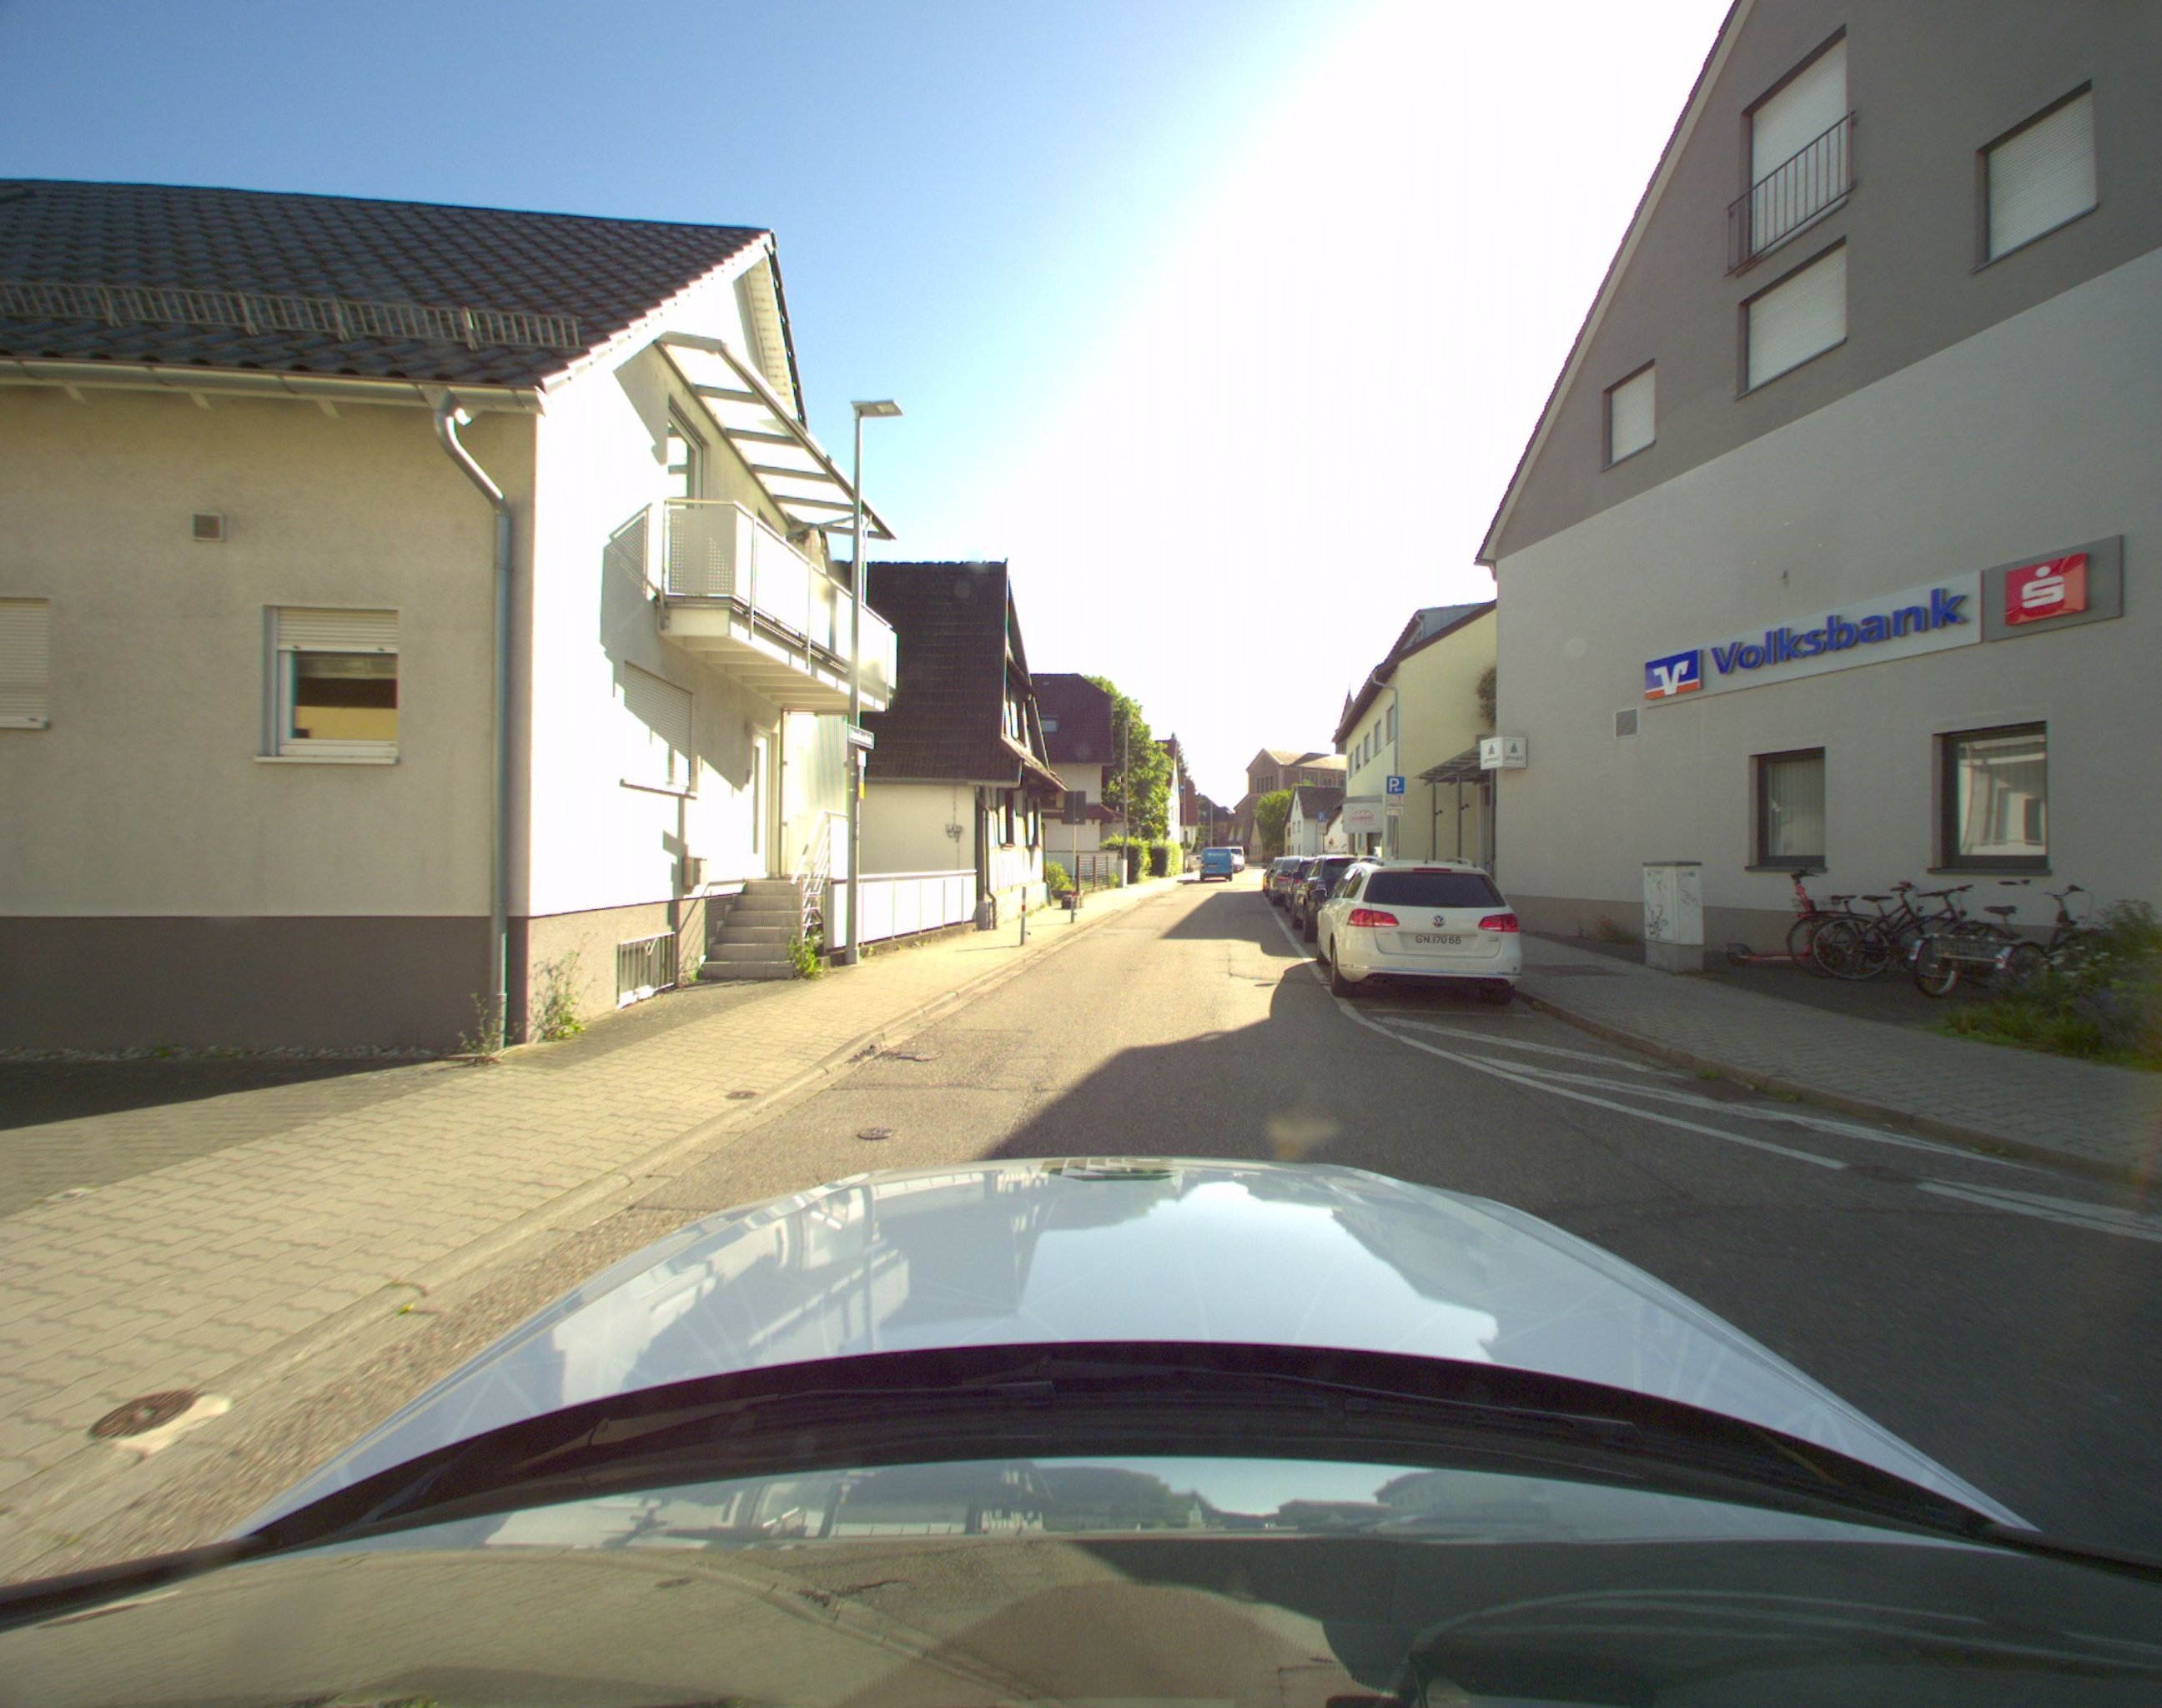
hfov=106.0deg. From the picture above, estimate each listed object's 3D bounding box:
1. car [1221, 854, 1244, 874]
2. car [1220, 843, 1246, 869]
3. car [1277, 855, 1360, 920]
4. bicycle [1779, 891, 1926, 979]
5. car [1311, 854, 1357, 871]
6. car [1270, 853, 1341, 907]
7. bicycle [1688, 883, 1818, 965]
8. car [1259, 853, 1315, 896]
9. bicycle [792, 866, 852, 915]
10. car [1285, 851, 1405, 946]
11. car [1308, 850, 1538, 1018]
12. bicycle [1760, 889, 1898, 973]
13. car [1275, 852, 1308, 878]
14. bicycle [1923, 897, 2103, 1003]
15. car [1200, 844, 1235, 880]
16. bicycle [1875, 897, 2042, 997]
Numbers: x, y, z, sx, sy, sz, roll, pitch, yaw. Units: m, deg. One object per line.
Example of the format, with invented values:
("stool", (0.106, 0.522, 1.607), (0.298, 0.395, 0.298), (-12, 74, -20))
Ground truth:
("car", (12.590, 0.800, 67.463), (1.703, 1.598, 3.939), (-1, 0, 13))
("car", (14.809, 0.191, 79.026), (2.182, 2.390, 6.086), (-2, 0, 13))
("car", (6.012, 0.778, 20.976), (1.714, 1.475, 3.887), (2, 0, 11))
("bicycle", (8.538, 0.880, 9.046), (1.153, 0.920, 0.315), (0, 0, 18))
("car", (23.230, 0.796, 74.862), (3.878, 1.492, 1.857), (-1, -1, 21))
("car", (6.844, 0.722, 25.212), (1.796, 1.475, 4.458), (2, 0, 11))
("bicycle", (8.445, 0.861, 10.270), (1.211, 0.975, 0.322), (0, 0, 24))
("car", (7.786, 0.748, 31.160), (1.797, 1.475, 4.858), (2, 0, 11))
("bicycle", (-4.222, 0.577, 13.362), (0.487, 0.717, 1.502), (1, 0, 0))
("car", (4.884, 0.733, 15.544), (1.600, 1.521, 3.982), (2, 0, 10))
("car", (3.762, 0.714, 9.759), (1.833, 1.514, 4.522), (0, 0, 13))
("bicycle", (8.652, 0.877, 9.451), (1.153, 0.920, 0.315), (0, 0, 18))
("car", (12.437, 0.631, 48.261), (1.798, 1.475, 4.677), (1, 0, 14))
("bicycle", (8.494, 0.864, 7.442), (1.156, 0.920, 0.314), (0, 0, 8))
("car", (7.971, 0.455, 47.556), (1.891, 1.917, 5.083), (-1, 0, 9))
("bicycle", (8.423, 0.880, 7.841), (1.156, 0.920, 0.314), (0, 0, 8))
